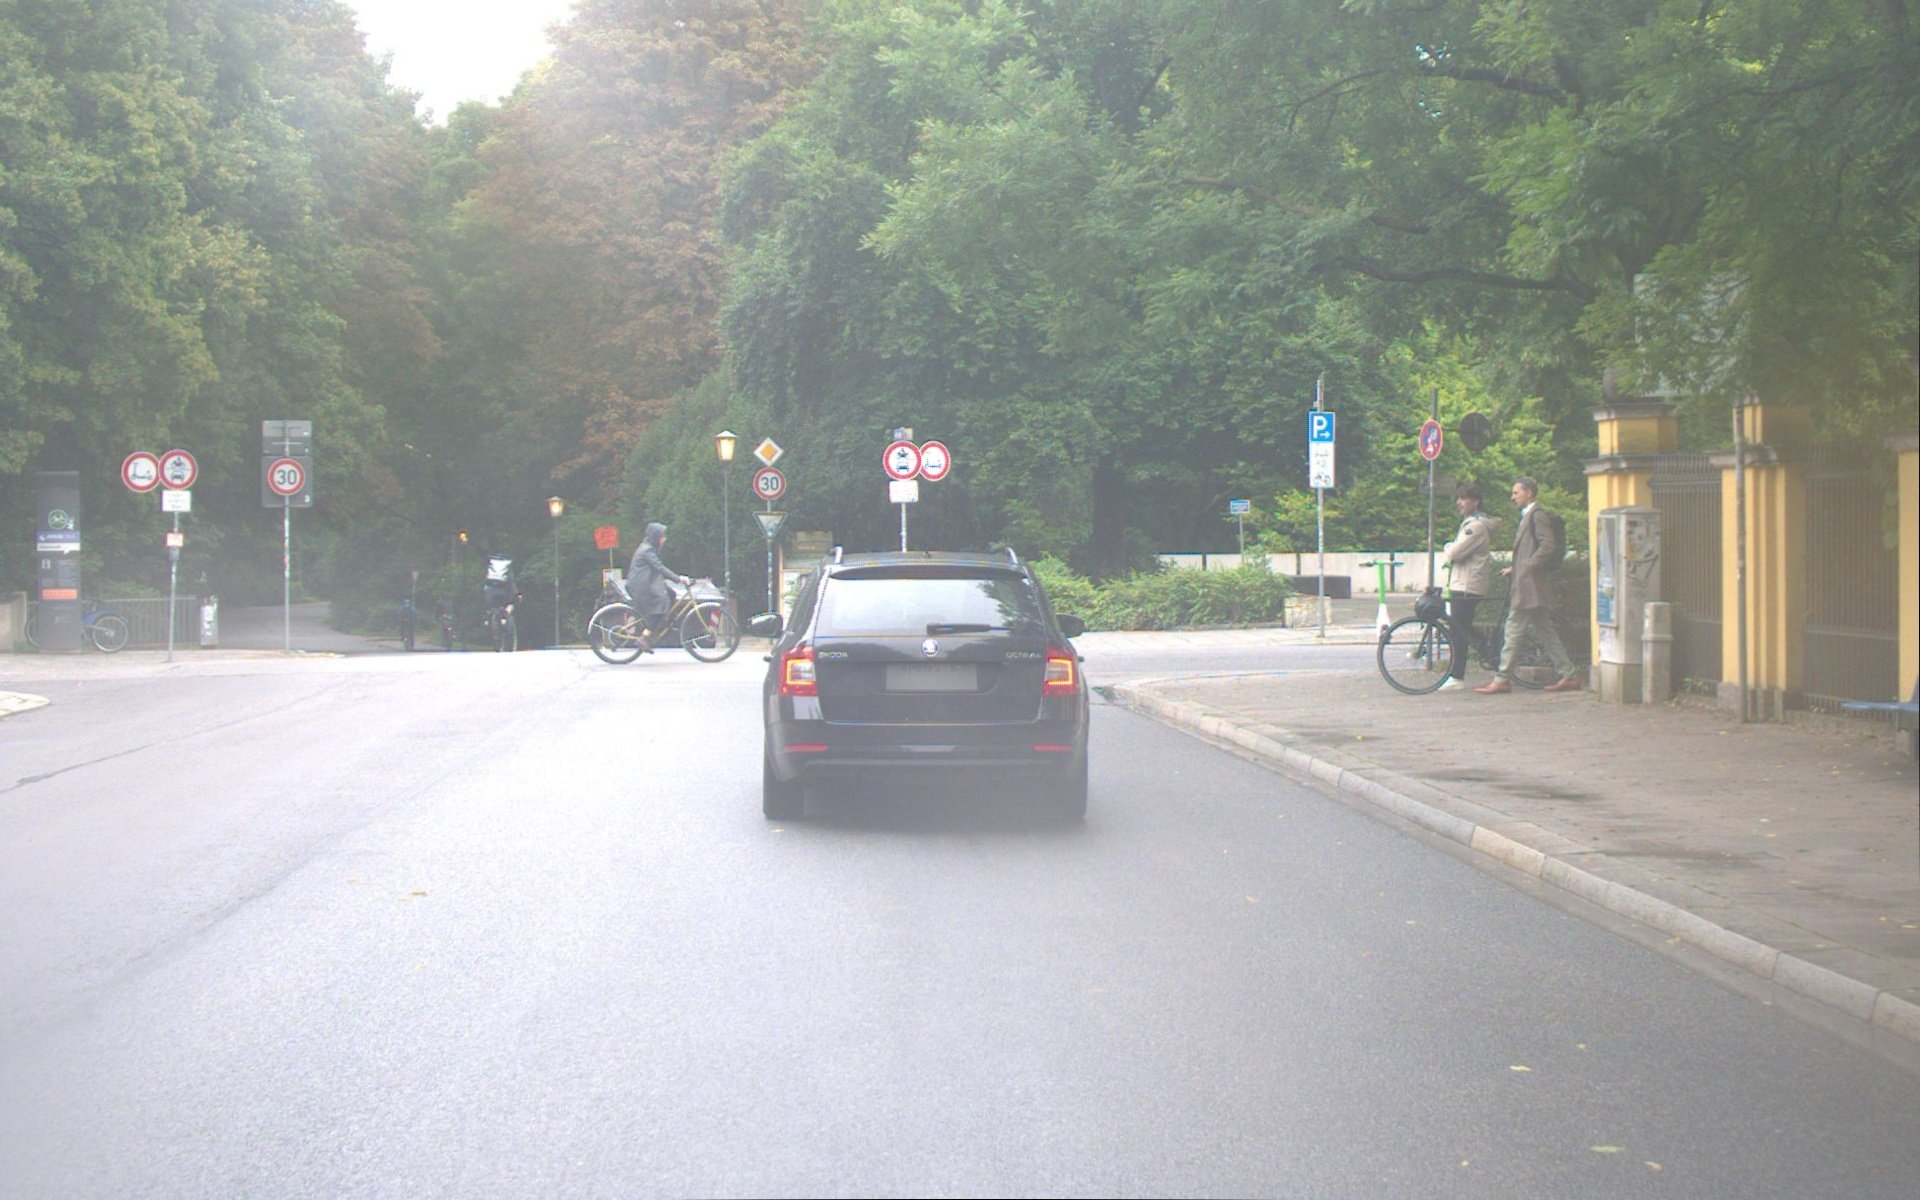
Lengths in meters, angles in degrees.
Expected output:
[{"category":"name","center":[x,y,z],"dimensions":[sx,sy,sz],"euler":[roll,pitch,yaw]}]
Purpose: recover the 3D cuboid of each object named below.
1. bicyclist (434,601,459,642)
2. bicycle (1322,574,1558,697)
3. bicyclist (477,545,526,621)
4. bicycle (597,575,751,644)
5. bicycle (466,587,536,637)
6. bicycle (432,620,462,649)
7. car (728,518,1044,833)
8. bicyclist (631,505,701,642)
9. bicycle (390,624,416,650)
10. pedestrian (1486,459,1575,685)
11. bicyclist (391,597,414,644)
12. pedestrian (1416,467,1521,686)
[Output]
[{"category":"bicyclist","center":[-15.115,0.627,101.183],"dimensions":[0.680,1.183,0.481],"euler":[-1,1,-13]},{"category":"bicycle","center":[4.202,0.305,30.112],"dimensions":[1.905,0.946,0.582],"euler":[-4,1,-10]},{"category":"bicyclist","center":[-7.841,-0.291,58.813],"dimensions":[0.681,1.278,0.599],"euler":[-1,1,8]},{"category":"bicycle","center":[-3.336,0.111,40.169],"dimensions":[1.763,0.794,0.570],"euler":[0,0,0]},{"category":"bicycle","center":[-7.833,0.195,58.734],"dimensions":[0.679,0.827,2.109],"euler":[-1,0,6]},{"category":"bicycle","center":[-15.108,1.020,101.183],"dimensions":[0.679,0.827,2.110],"euler":[-1,0,-13]},{"category":"car","center":[-0.400,0.352,19.404],"dimensions":[1.577,1.578,4.044],"euler":[-1,1,-1]},{"category":"bicyclist","center":[-3.428,-0.306,40.172],"dimensions":[0.750,1.579,0.656],"euler":[-1,0,-1]},{"category":"bicycle","center":[-18.352,1.207,113.230],"dimensions":[0.679,0.827,2.110],"euler":[-1,0,-13]},{"category":"pedestrian","center":[4.918,-0.243,29.647],"dimensions":[0.541,1.912,0.492],"euler":[-3,0,-10]},{"category":"bicyclist","center":[-18.398,0.672,113.466],"dimensions":[0.680,1.499,0.901],"euler":[-1,1,-12]},{"category":"pedestrian","center":[4.554,-0.211,30.791],"dimensions":[0.674,1.912,0.641],"euler":[-3,0,-10]}]
